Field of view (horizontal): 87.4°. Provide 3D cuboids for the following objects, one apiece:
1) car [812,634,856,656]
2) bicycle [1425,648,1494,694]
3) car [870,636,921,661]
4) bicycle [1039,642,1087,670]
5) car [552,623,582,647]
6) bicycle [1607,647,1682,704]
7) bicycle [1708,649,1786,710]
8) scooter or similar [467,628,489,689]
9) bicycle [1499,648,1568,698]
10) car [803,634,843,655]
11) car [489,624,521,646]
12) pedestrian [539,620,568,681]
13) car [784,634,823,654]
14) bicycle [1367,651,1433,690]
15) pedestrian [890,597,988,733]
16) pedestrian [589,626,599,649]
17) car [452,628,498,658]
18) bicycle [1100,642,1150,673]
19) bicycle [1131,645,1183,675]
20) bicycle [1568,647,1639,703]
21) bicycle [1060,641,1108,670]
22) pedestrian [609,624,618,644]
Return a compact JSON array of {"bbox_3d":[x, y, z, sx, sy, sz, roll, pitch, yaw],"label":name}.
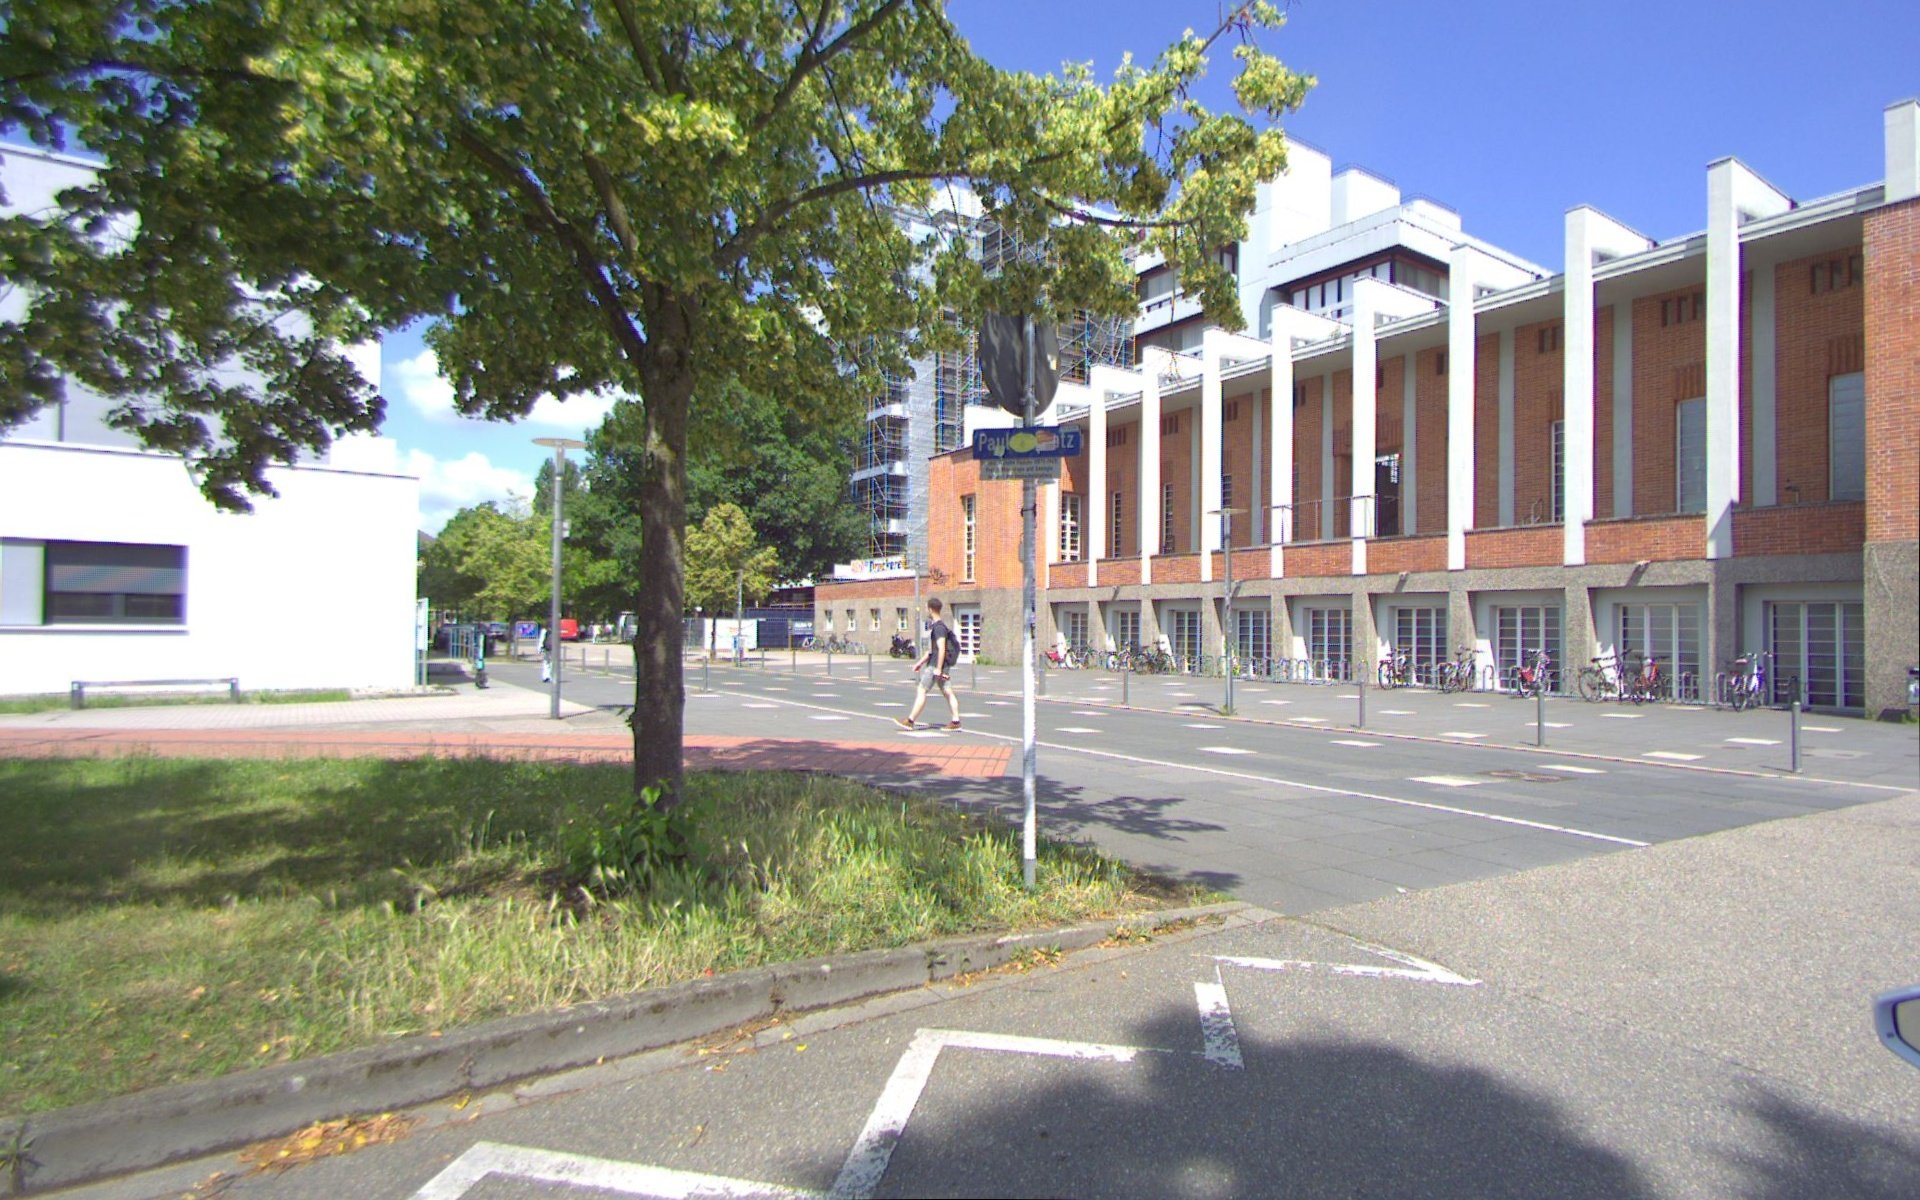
[{"bbox_3d":[-7.050,2.495,56.138,2.344,1.196,0.787,2,-2,-32],"label":"car"},{"bbox_3d":[12.390,1.741,24.913,2.008,1.075,0.657,2,-2,-35],"label":"bicycle"},{"bbox_3d":[-3.144,2.375,49.135,2.502,1.196,0.627,2,-2,-32],"label":"car"},{"bbox_3d":[3.897,2.119,38.037,1.937,1.043,0.537,2,-2,-35],"label":"bicycle"},{"bbox_3d":[-31.227,2.784,79.707,1.890,1.906,3.974,1,-2,-26],"label":"car"},{"bbox_3d":[14.610,1.591,21.427,2.006,1.140,0.587,2,-2,-33],"label":"bicycle"},{"bbox_3d":[15.556,1.541,19.850,2.008,1.140,0.660,2,-2,-35],"label":"bicycle"},{"bbox_3d":[-10.224,1.227,21.293,0.323,1.252,1.065,1,-2,-30],"label":"scooter or similar"},{"bbox_3d":[13.352,1.677,23.379,1.996,1.096,0.616,2,-2,-35],"label":"bicycle"},{"bbox_3d":[-7.859,2.545,57.557,2.265,1.196,0.519,2,-2,-32],"label":"car"},{"bbox_3d":[-45.774,3.555,101.201,1.992,2.119,4.423,0,-2,-12],"label":"car"},{"bbox_3d":[-9.865,1.225,24.363,0.519,1.458,0.695,1,-2,-31],"label":"pedestrian"},{"bbox_3d":[-9.278,2.602,59.532,2.301,1.196,0.475,2,-2,-32],"label":"car"},{"bbox_3d":[11.605,1.838,26.471,1.937,0.973,0.678,2,-2,-35],"label":"bicycle"},{"bbox_3d":[-0.308,0.922,14.247,1.152,1.823,1.019,3,-3,-14],"label":"pedestrian"},{"bbox_3d":[-32.266,3.317,88.605,0.750,2.040,0.565,1,-1,-30],"label":"pedestrian"},{"bbox_3d":[-23.990,2.102,49.618,1.537,1.404,3.420,2,-2,-35],"label":"car"},{"bbox_3d":[5.784,1.991,35.185,1.937,1.043,0.525,2,-2,-35],"label":"bicycle"},{"bbox_3d":[6.695,2.020,34.055,1.937,0.953,0.563,2,-2,-35],"label":"bicycle"},{"bbox_3d":[14.189,1.634,22.125,2.004,1.140,0.435,0,-1,-30],"label":"bicycle"},{"bbox_3d":[4.630,2.062,37.338,1.937,1.043,0.513,2,-2,-35],"label":"bicycle"},{"bbox_3d":[-26.746,2.625,77.506,0.634,1.559,0.451,1,-1,-23],"label":"pedestrian"}]
